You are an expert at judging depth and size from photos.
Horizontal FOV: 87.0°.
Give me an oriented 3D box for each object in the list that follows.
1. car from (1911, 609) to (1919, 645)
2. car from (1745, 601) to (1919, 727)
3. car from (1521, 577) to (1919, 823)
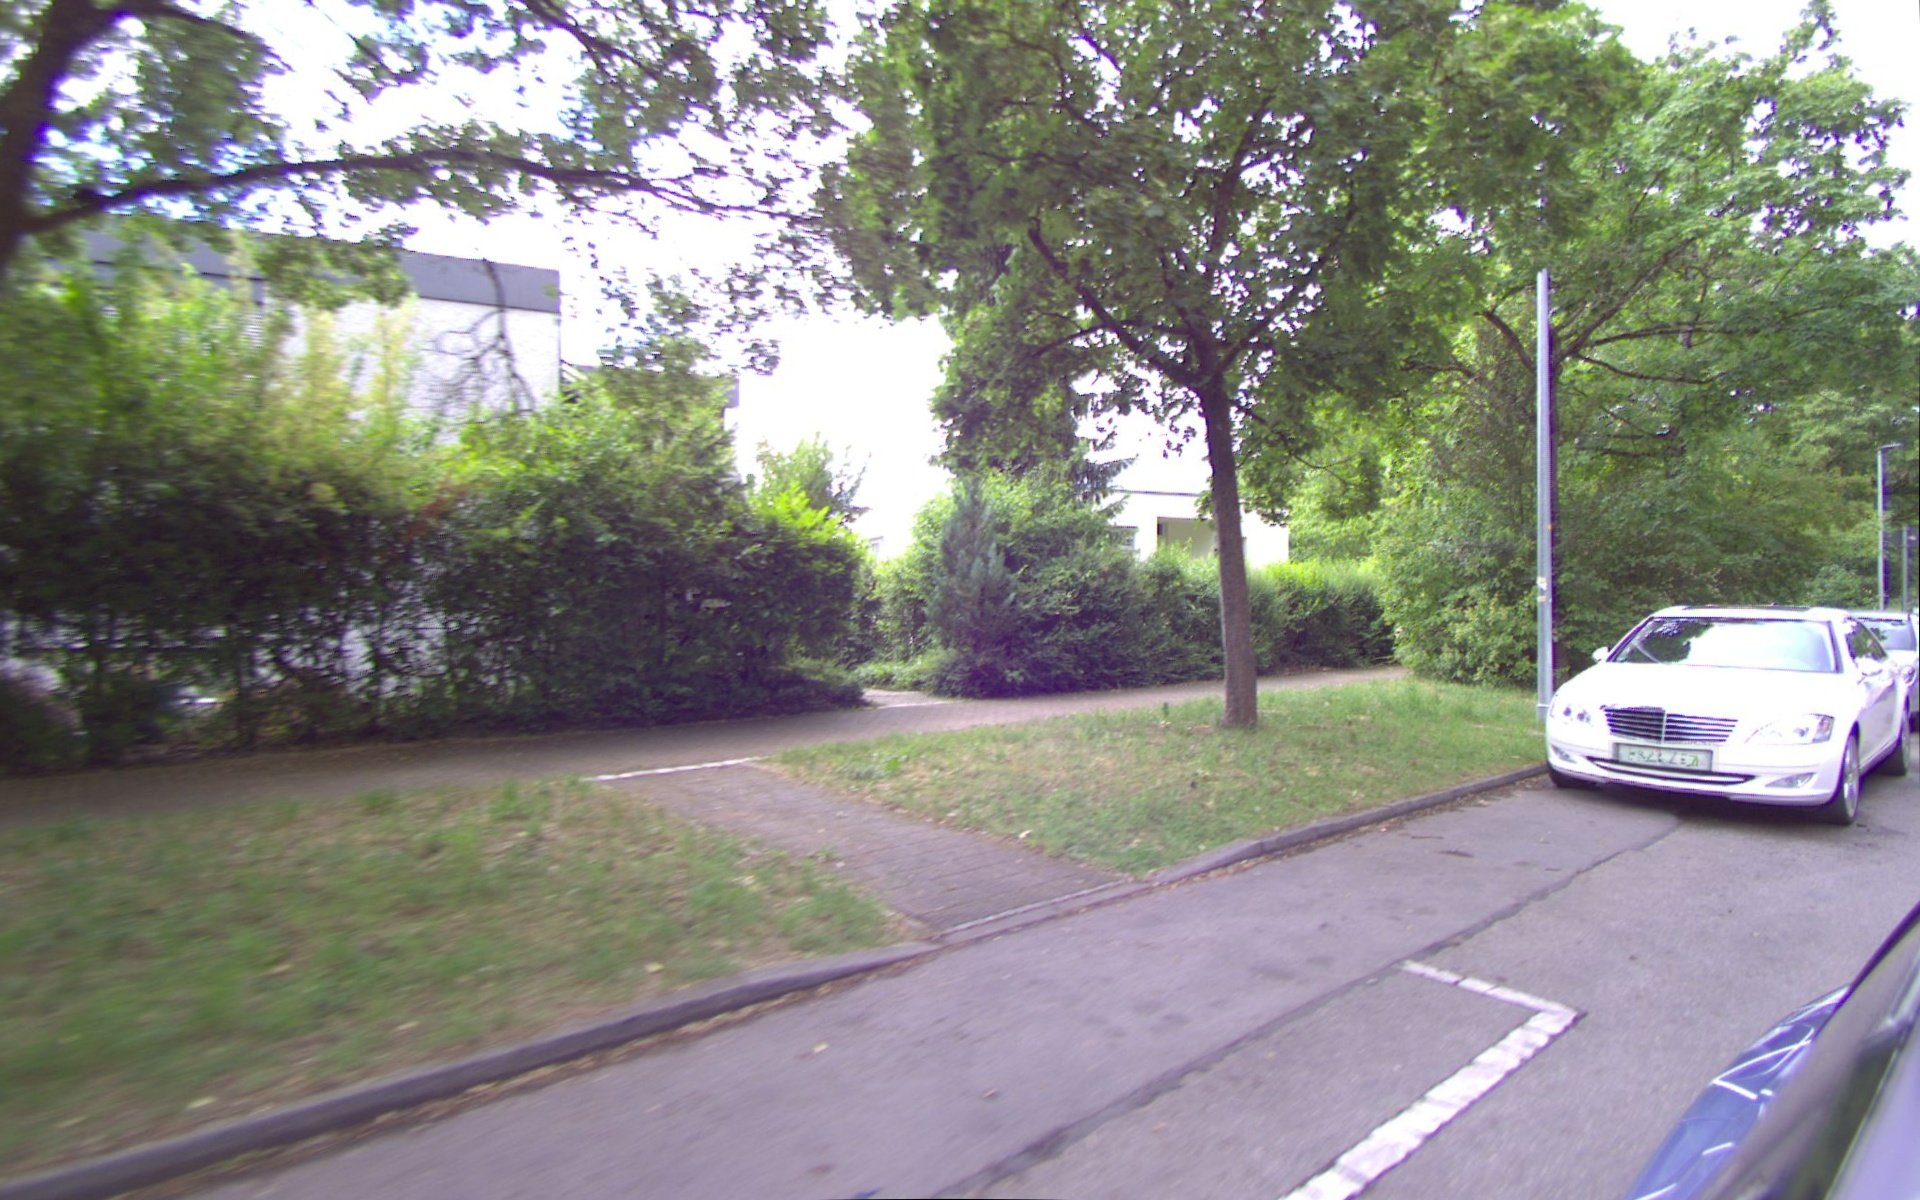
[{"bbox_3d":[50.452,1.367,52.149,1.992,1.693,3.939,-3,-1,42],"label":"car"},{"bbox_3d":[12.133,0.742,13.550,3.987,1.428,1.796,0,1,-40],"label":"car"},{"bbox_3d":[6.783,0.616,8.699,5.086,1.526,1.889,0,0,-42],"label":"car"}]
